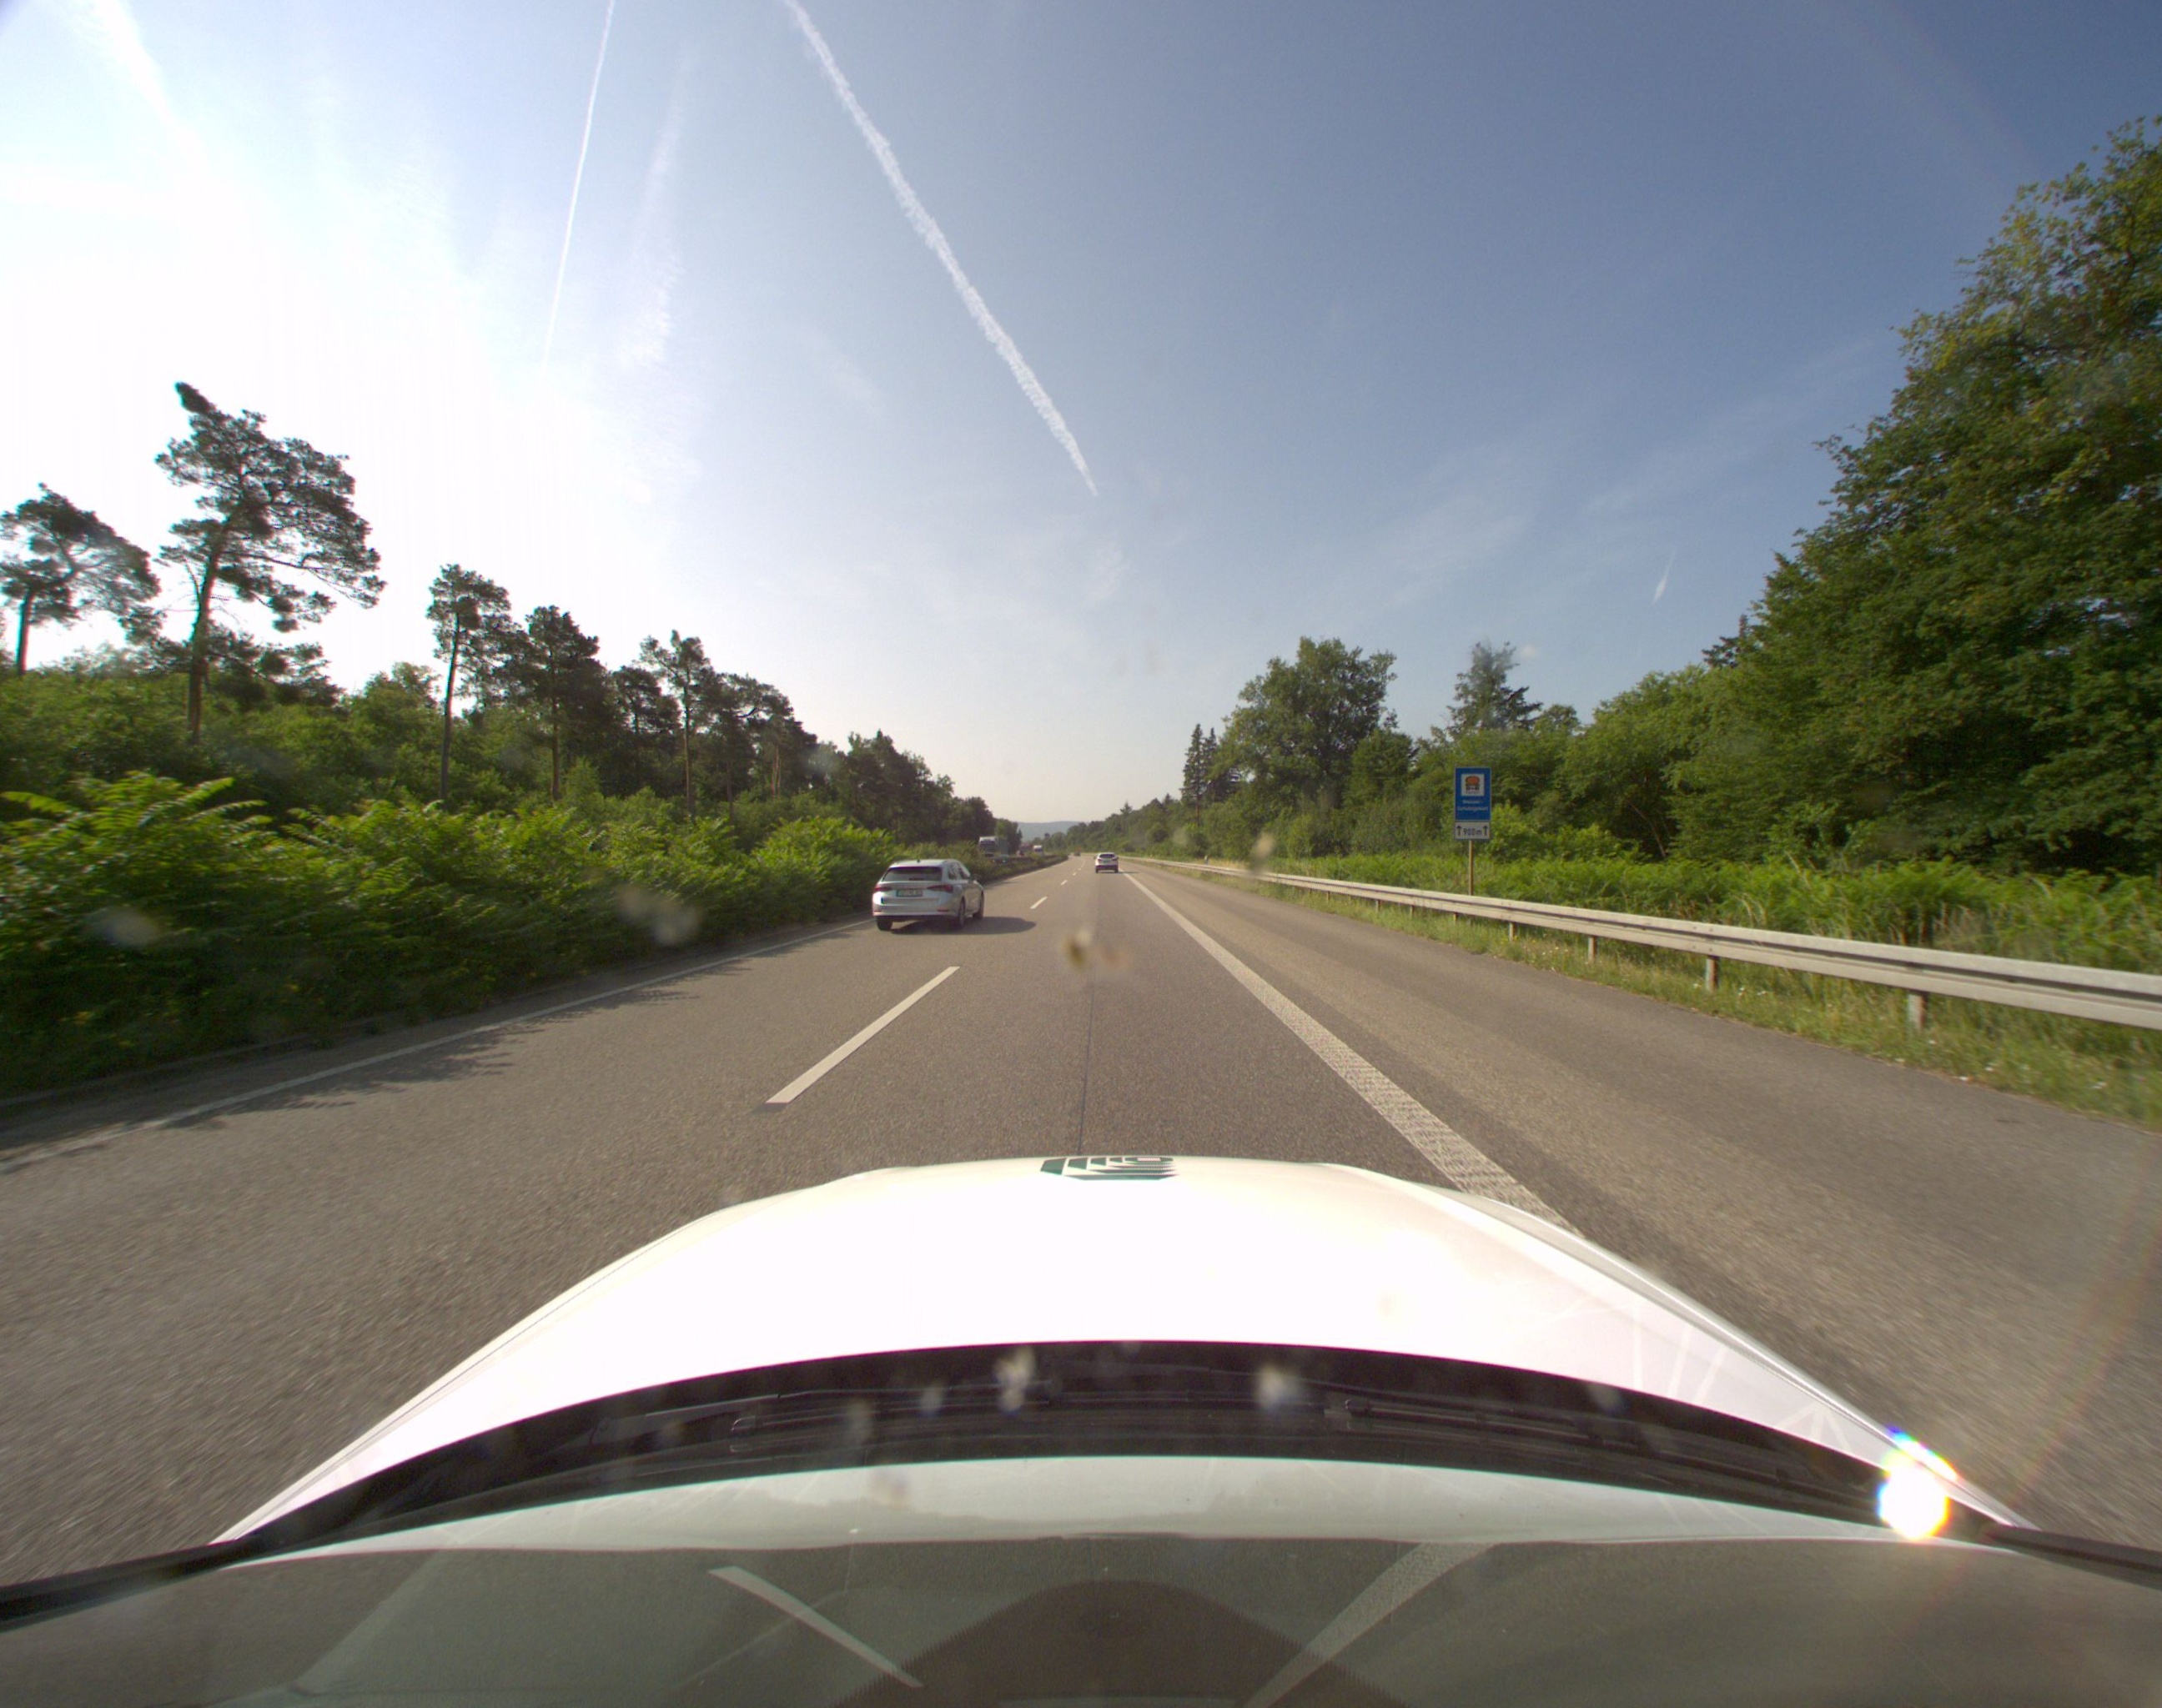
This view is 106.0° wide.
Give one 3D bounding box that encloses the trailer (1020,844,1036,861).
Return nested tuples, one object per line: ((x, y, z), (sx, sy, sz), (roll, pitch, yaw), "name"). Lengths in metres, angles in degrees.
((-12.946, -0.341, 198.307), (3.285, 4.039, 8.371), (0, -1, 0), "trailer")

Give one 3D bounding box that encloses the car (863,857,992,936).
((-3.265, 0.834, 18.424), (1.786, 1.438, 5.279), (-2, 0, 1), "car")

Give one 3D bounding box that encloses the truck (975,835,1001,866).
((-13.086, -0.547, 115.322), (2.700, 4.200, 6.294), (-2, 0, 1), "truck")

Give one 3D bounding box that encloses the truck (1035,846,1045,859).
((-13.013, -0.440, 259.619), (2.829, 4.196, 5.545), (-2, 0, -1), "truck")

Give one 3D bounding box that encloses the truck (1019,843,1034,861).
((-12.921, -0.440, 193.175), (3.256, 4.039, 6.232), (-1, 0, 0), "truck")

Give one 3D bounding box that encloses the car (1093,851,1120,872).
((1.992, 0.580, 64.752), (1.868, 1.586, 3.997), (1, 0, -2), "car")
